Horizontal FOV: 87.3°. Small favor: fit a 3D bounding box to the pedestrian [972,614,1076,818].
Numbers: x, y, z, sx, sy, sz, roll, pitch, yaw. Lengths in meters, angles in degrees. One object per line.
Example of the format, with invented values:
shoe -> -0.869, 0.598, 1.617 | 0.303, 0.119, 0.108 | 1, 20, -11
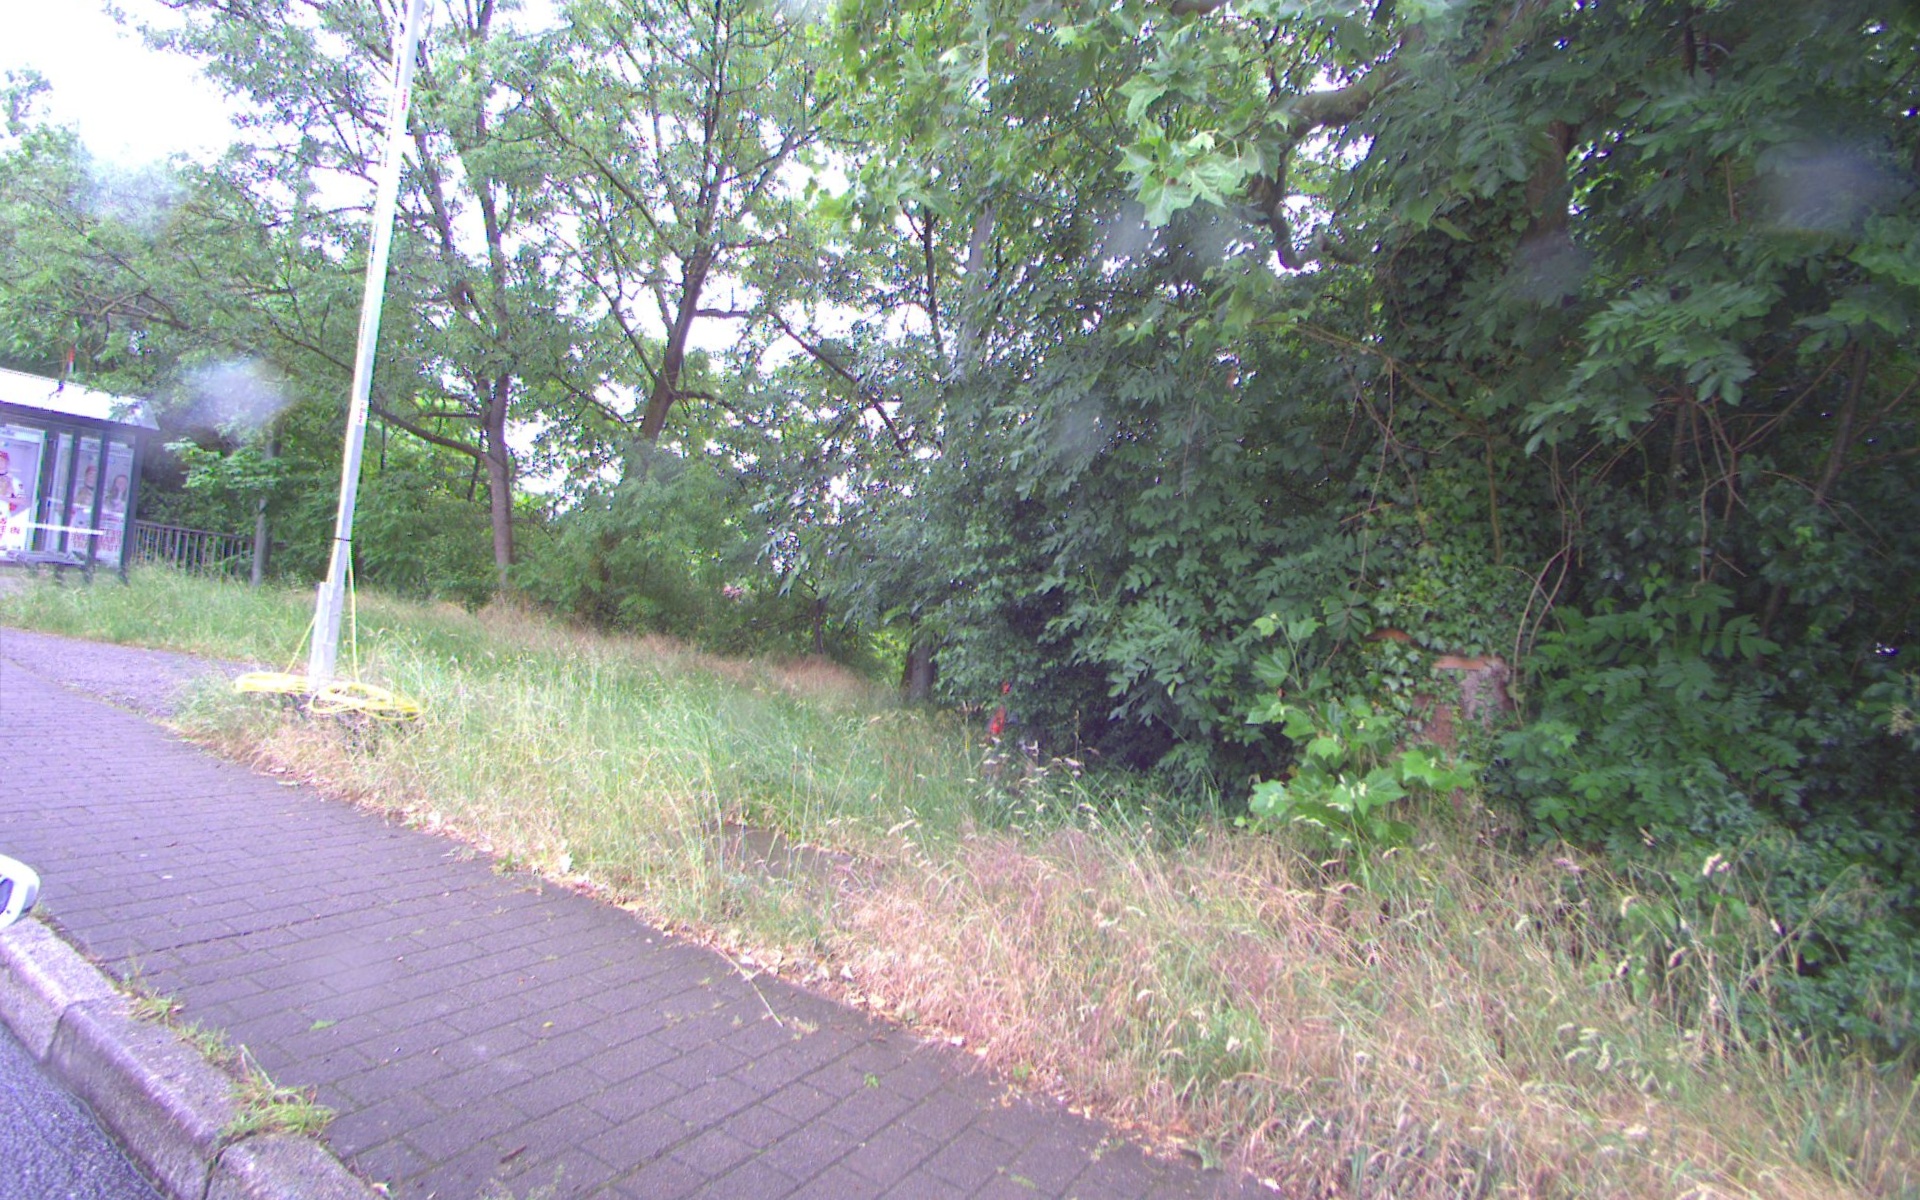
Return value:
pedestrian -> 0.617, 1.064, 9.438 | 0.655, 1.761, 0.684 | 7, 0, 14
